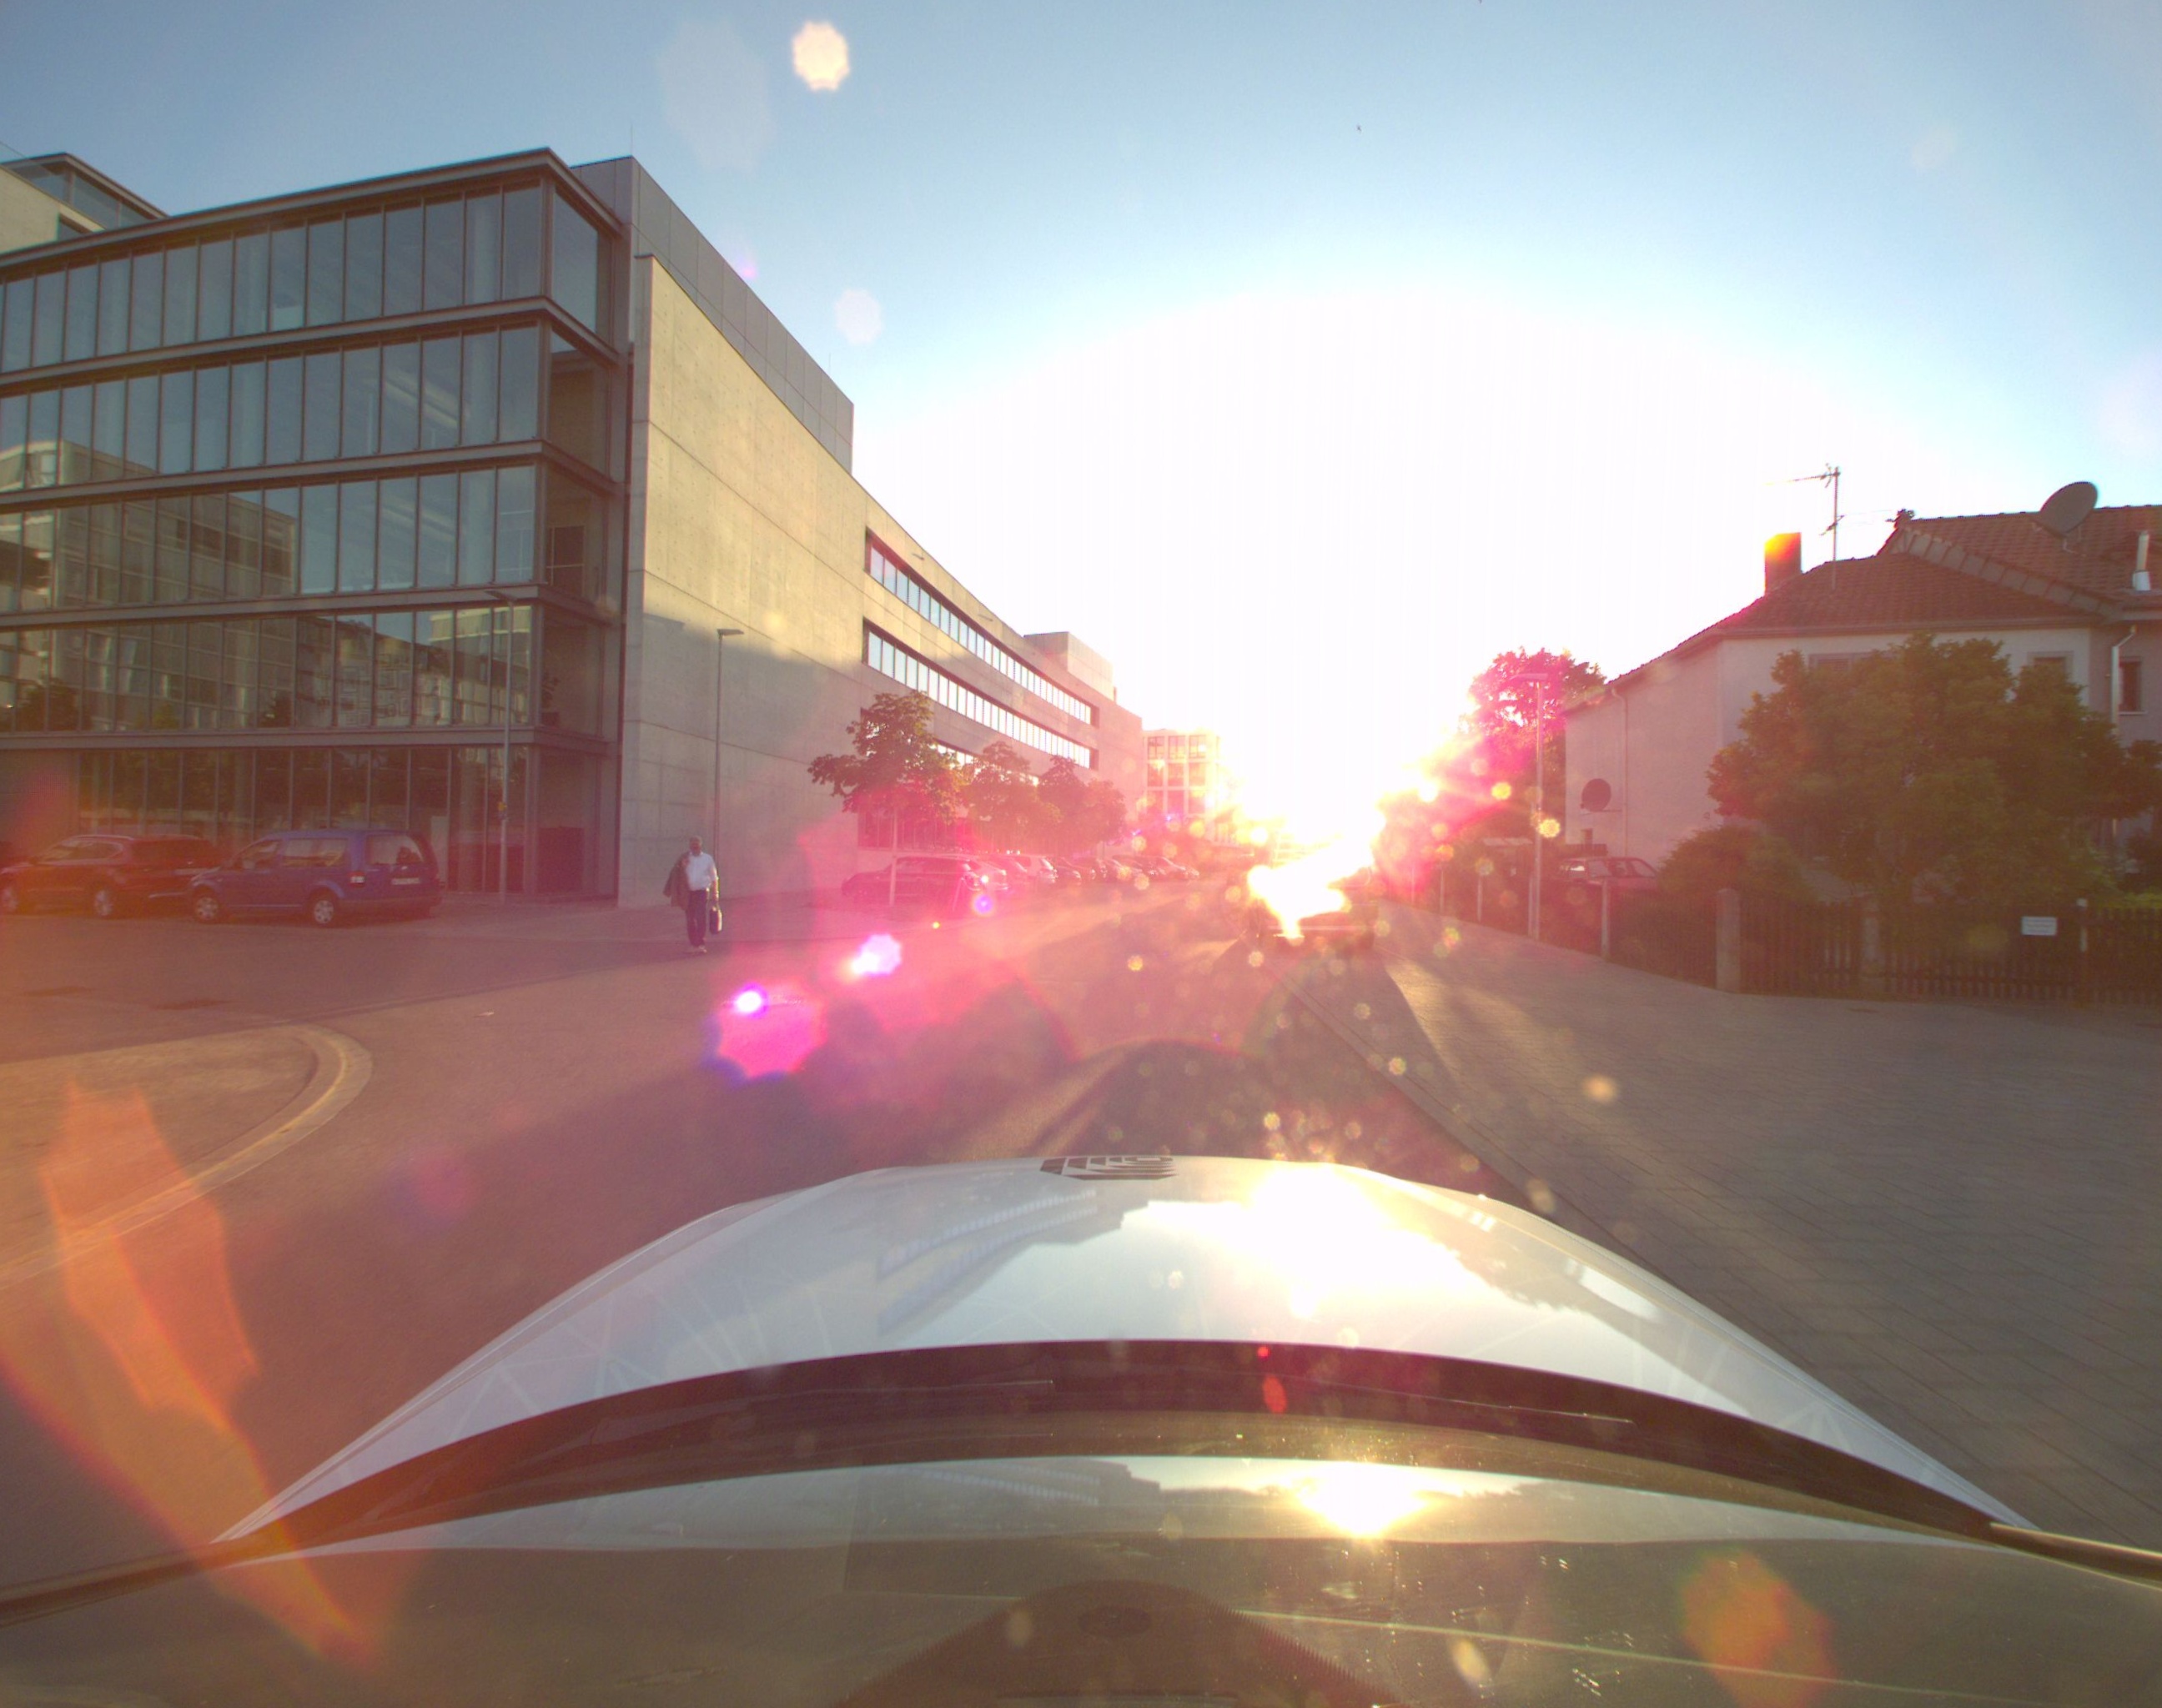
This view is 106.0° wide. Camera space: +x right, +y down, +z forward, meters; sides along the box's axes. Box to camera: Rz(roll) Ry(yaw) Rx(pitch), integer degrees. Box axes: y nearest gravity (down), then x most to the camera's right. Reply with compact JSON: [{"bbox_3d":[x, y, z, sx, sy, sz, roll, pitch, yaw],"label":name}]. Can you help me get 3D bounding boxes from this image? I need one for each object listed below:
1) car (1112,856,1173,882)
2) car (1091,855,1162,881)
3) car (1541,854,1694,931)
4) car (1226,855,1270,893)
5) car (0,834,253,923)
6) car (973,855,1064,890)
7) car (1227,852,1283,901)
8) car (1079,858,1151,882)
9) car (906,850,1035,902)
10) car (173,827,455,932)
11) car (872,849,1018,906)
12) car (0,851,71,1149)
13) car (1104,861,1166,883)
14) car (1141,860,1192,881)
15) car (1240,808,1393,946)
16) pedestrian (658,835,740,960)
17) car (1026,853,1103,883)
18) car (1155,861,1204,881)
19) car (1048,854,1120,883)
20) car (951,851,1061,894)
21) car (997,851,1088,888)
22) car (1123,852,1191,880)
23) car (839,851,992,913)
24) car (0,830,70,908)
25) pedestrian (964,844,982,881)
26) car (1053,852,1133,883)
[{"bbox_3d":[4.627,1.112,61.261,4.214,1.742,1.732,3,-1,17],"label":"car"},{"bbox_3d":[3.097,0.968,55.496,4.360,1.499,1.772,3,-1,21],"label":"car"},{"bbox_3d":[11.277,0.729,17.404,1.518,1.444,3.652,0,0,12],"label":"car"},{"bbox_3d":[7.470,0.819,36.159,1.698,1.550,4.565,0,0,14],"label":"car"},{"bbox_3d":[-19.765,0.438,16.834,4.015,1.630,1.784,1,2,12],"label":"car"},{"bbox_3d":[-2.699,0.776,35.496,3.614,1.361,1.689,2,0,6],"label":"car"},{"bbox_3d":[5.861,0.700,27.499,1.729,1.552,3.652,0,0,12],"label":"car"},{"bbox_3d":[2.243,1.017,53.317,4.399,1.464,1.771,1,0,17],"label":"car"},{"bbox_3d":[-3.682,0.716,27.520,3.979,1.512,1.587,2,1,5],"label":"car"},{"bbox_3d":[-14.733,0.422,15.748,4.061,1.831,1.853,1,2,9],"label":"car"},{"bbox_3d":[-4.160,0.694,25.287,4.066,1.528,1.849,2,0,5],"label":"car"},{"bbox_3d":[-6.737,0.698,2.397,1.676,1.519,4.374,2,-1,11],"label":"car"},{"bbox_3d":[3.943,1.310,59.498,4.111,1.404,1.732,3,-1,17],"label":"car"},{"bbox_3d":[7.199,1.346,68.354,3.956,1.522,1.613,3,-1,17],"label":"car"},{"bbox_3d":[4.092,0.342,14.977,2.053,2.095,4.883,0,0,8],"label":"car"},{"bbox_3d":[-5.940,0.637,12.674,0.845,1.850,0.907,1,0,43],"label":"pedestrian"},{"bbox_3d":[-0.844,0.732,42.955,3.677,1.458,1.717,1,-1,12],"label":"car"},{"bbox_3d":[8.526,1.445,70.379,3.854,1.488,1.659,3,0,19],"label":"car"},{"bbox_3d":[0.179,0.804,44.967,3.676,1.458,1.685,1,-1,14],"label":"car"},{"bbox_3d":[-2.932,0.711,32.311,3.963,1.511,1.765,2,0,10],"label":"car"},{"bbox_3d":[-1.776,0.699,38.027,3.844,1.511,1.766,2,0,12],"label":"car"},{"bbox_3d":[6.058,0.980,65.107,5.035,1.946,1.897,3,-1,18],"label":"car"},{"bbox_3d":[-4.501,0.742,22.521,3.716,1.482,1.773,2,1,5],"label":"car"},{"bbox_3d":[-25.359,0.293,18.204,4.015,1.610,1.784,2,3,12],"label":"car"},{"bbox_3d":[-5.362,0.423,40.481,0.641,1.784,0.727,2,0,11],"label":"pedestrian"},{"bbox_3d":[0.740,0.769,47.559,4.278,1.696,1.903,1,-1,14],"label":"car"}]
